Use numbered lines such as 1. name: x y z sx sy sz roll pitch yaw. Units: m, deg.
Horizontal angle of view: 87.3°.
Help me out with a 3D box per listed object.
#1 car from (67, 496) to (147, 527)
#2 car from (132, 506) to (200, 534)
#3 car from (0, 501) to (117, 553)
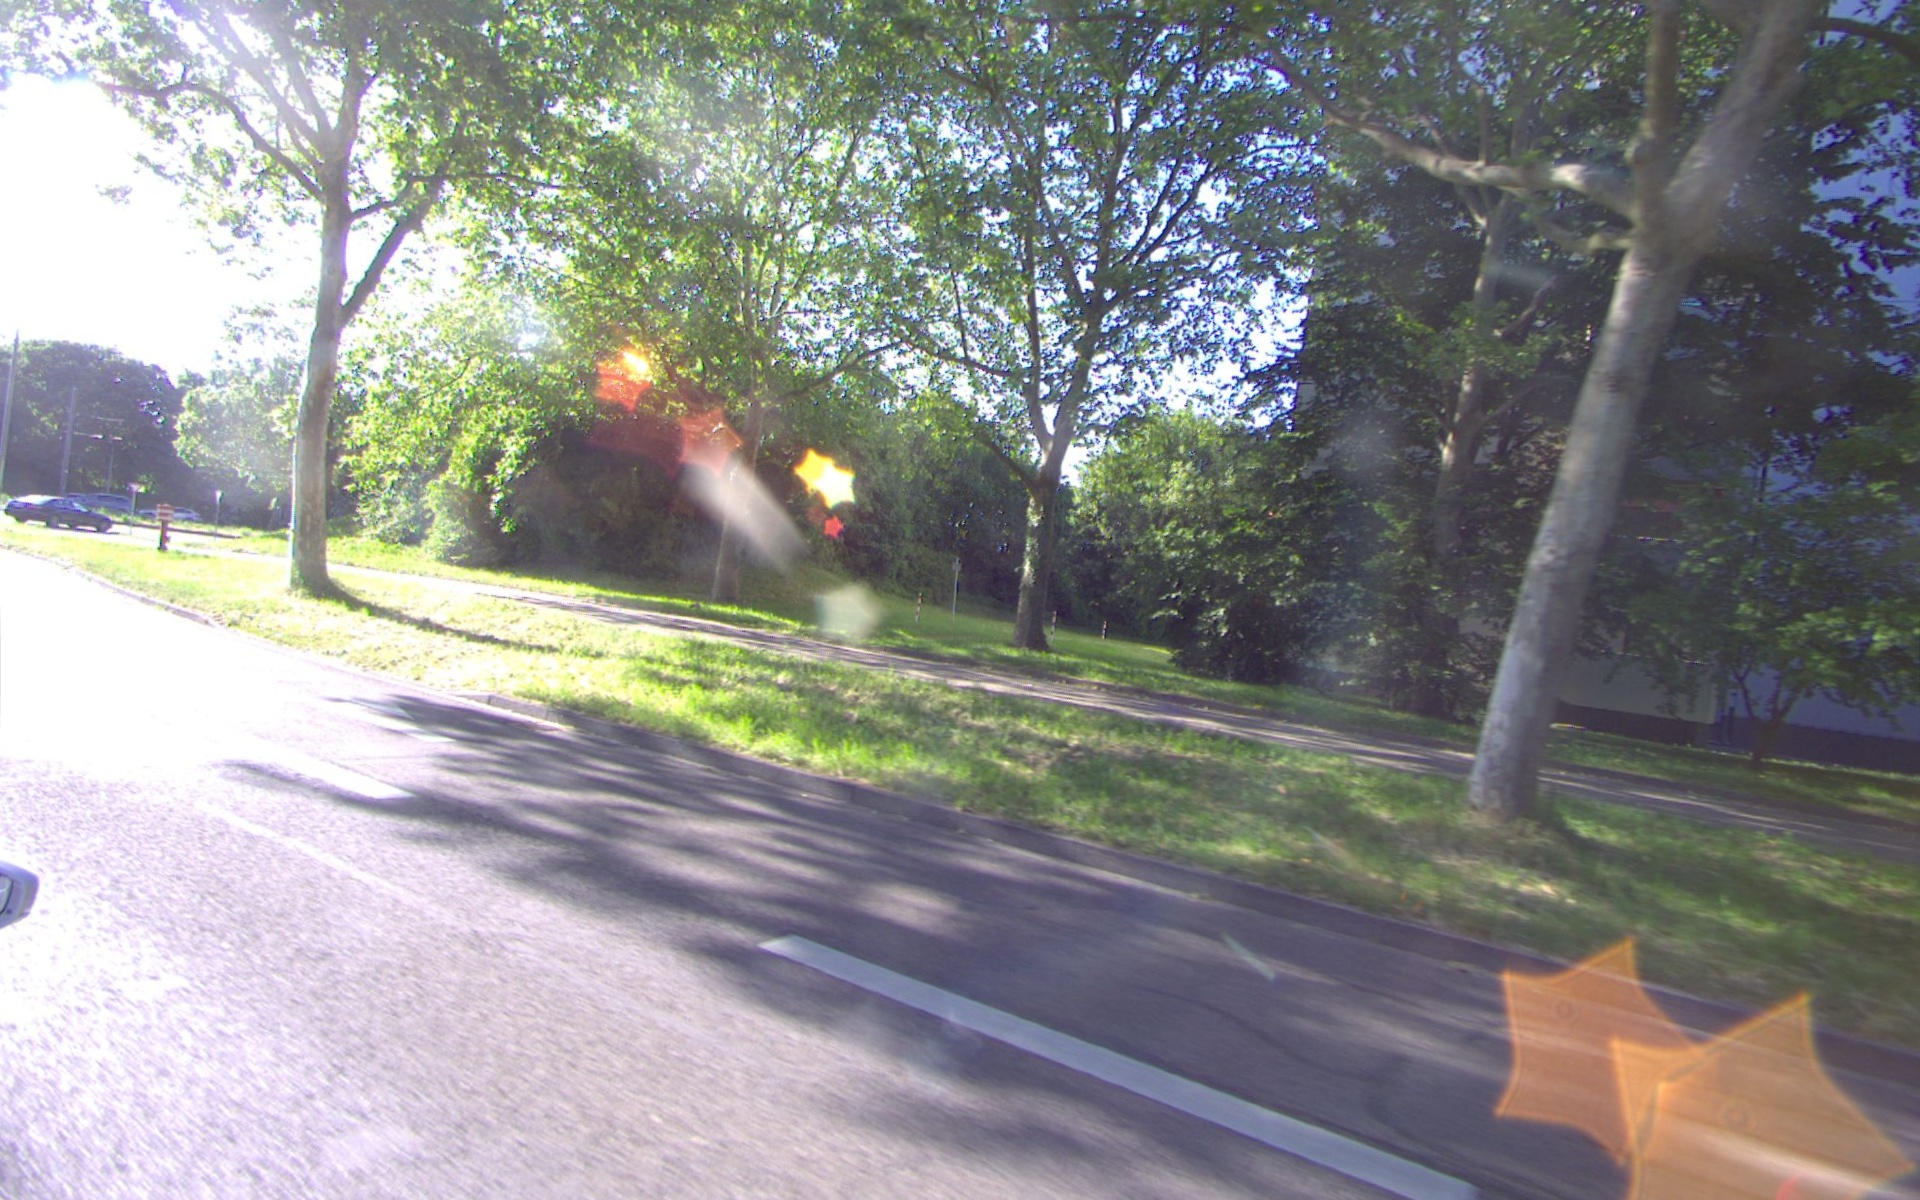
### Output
1. car: -65.194 -6.728 76.950 4.327 1.576 1.855 9 -2 -34
2. car: -64.120 -6.424 81.297 3.962 1.512 1.845 9 -2 -33
3. car: -45.885 -3.660 51.147 1.952 1.811 4.619 8 -3 0
